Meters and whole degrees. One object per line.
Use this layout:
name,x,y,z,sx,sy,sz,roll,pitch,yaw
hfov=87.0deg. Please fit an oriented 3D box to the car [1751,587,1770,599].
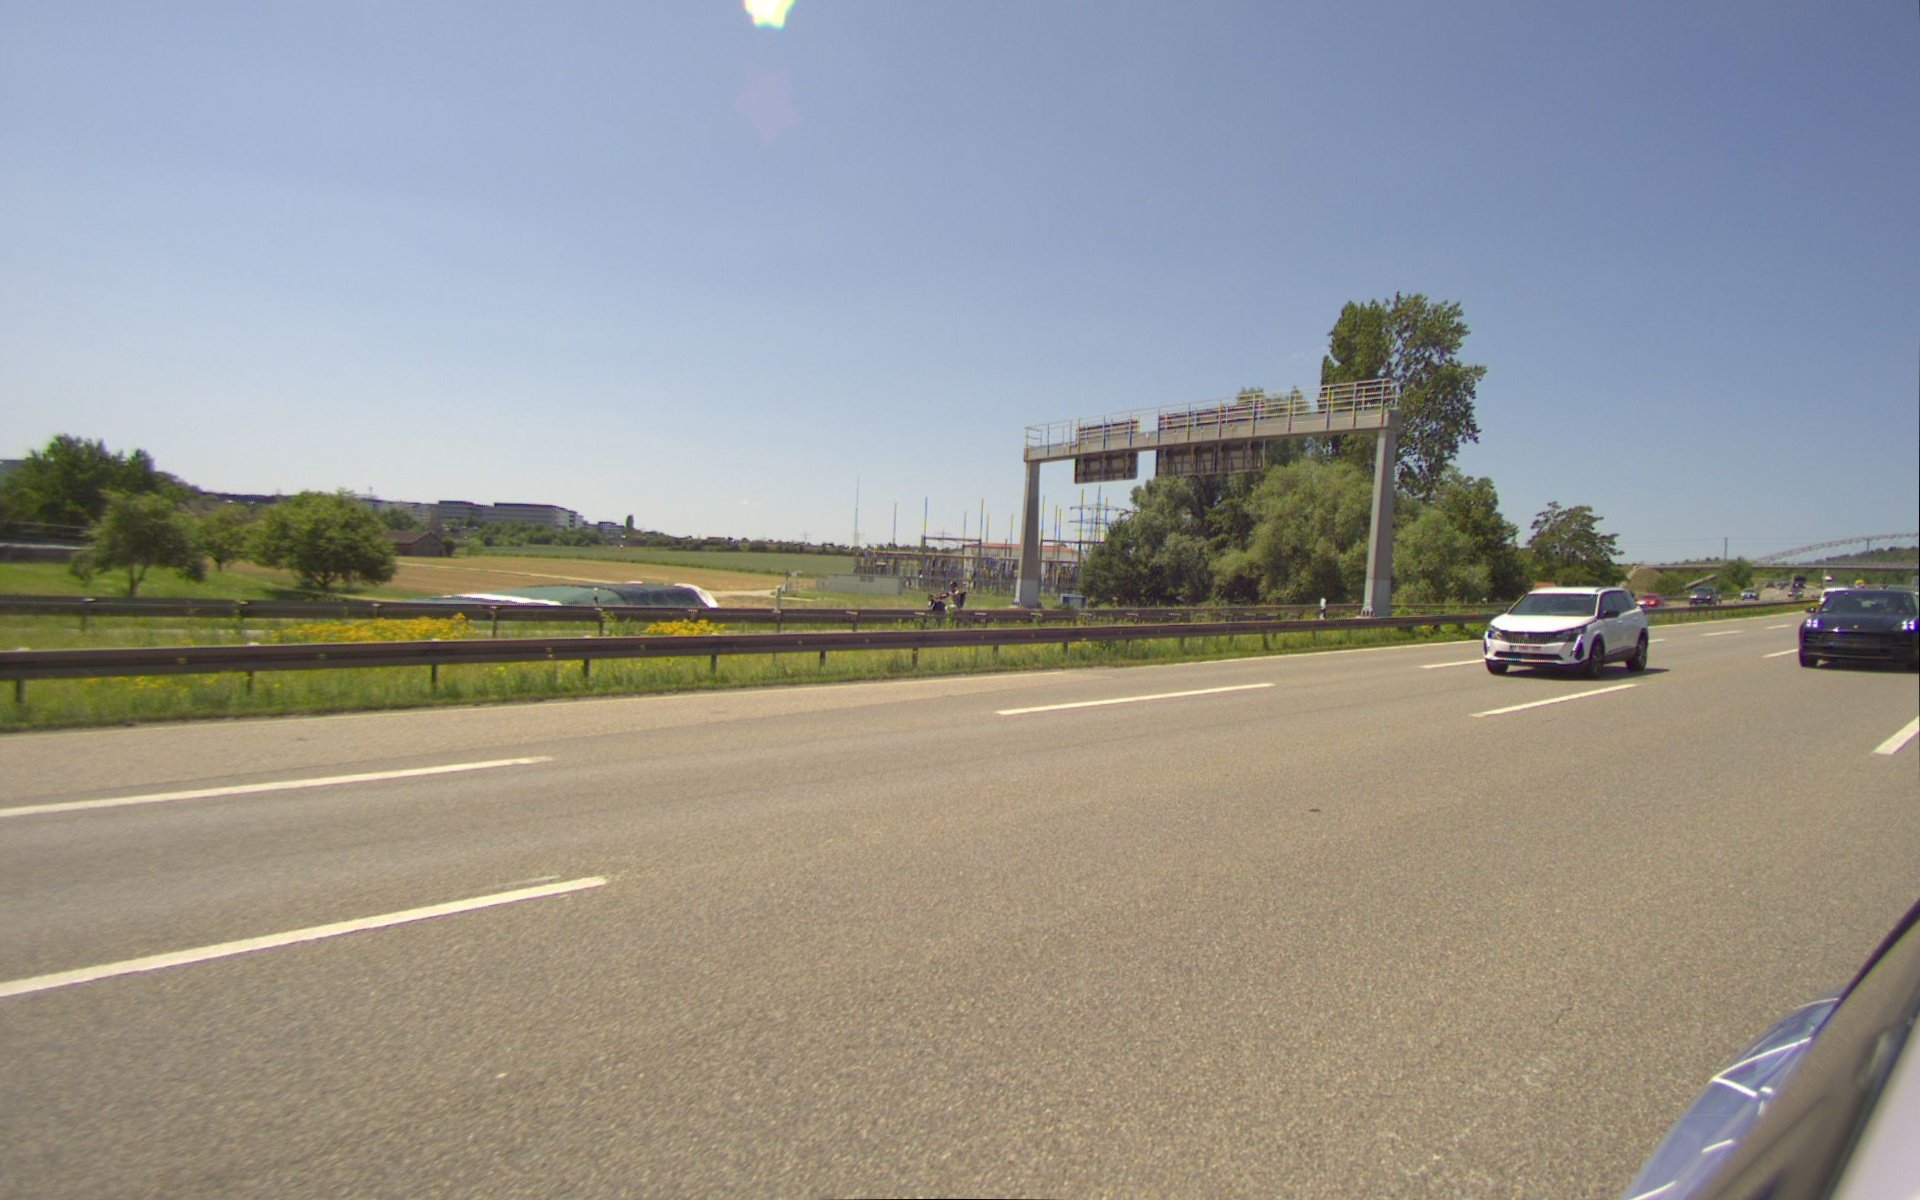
car,111.381,-0.919,140.778,1.699,1.594,4.063,1,2,44

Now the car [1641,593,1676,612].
car,62.422,0.244,90.442,4.057,1.594,1.702,-1,1,-41

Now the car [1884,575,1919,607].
car,59.889,-0.586,63.993,4.222,1.943,1.806,-1,1,-42

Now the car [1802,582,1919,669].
car,19.151,0.441,20.995,4.059,1.615,1.930,-1,1,-40

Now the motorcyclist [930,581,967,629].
motorcyclist,-0.351,0.131,30.148,0.863,1.383,0.670,-1,1,-39

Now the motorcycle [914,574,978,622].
motorcycle,-0.400,-0.077,30.116,1.836,1.383,0.762,-1,1,-39

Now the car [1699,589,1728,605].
car,82.671,-0.358,111.035,4.057,1.594,1.702,-1,1,-41

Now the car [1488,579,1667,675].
car,11.923,0.420,19.405,4.541,1.611,1.746,-1,1,-42
